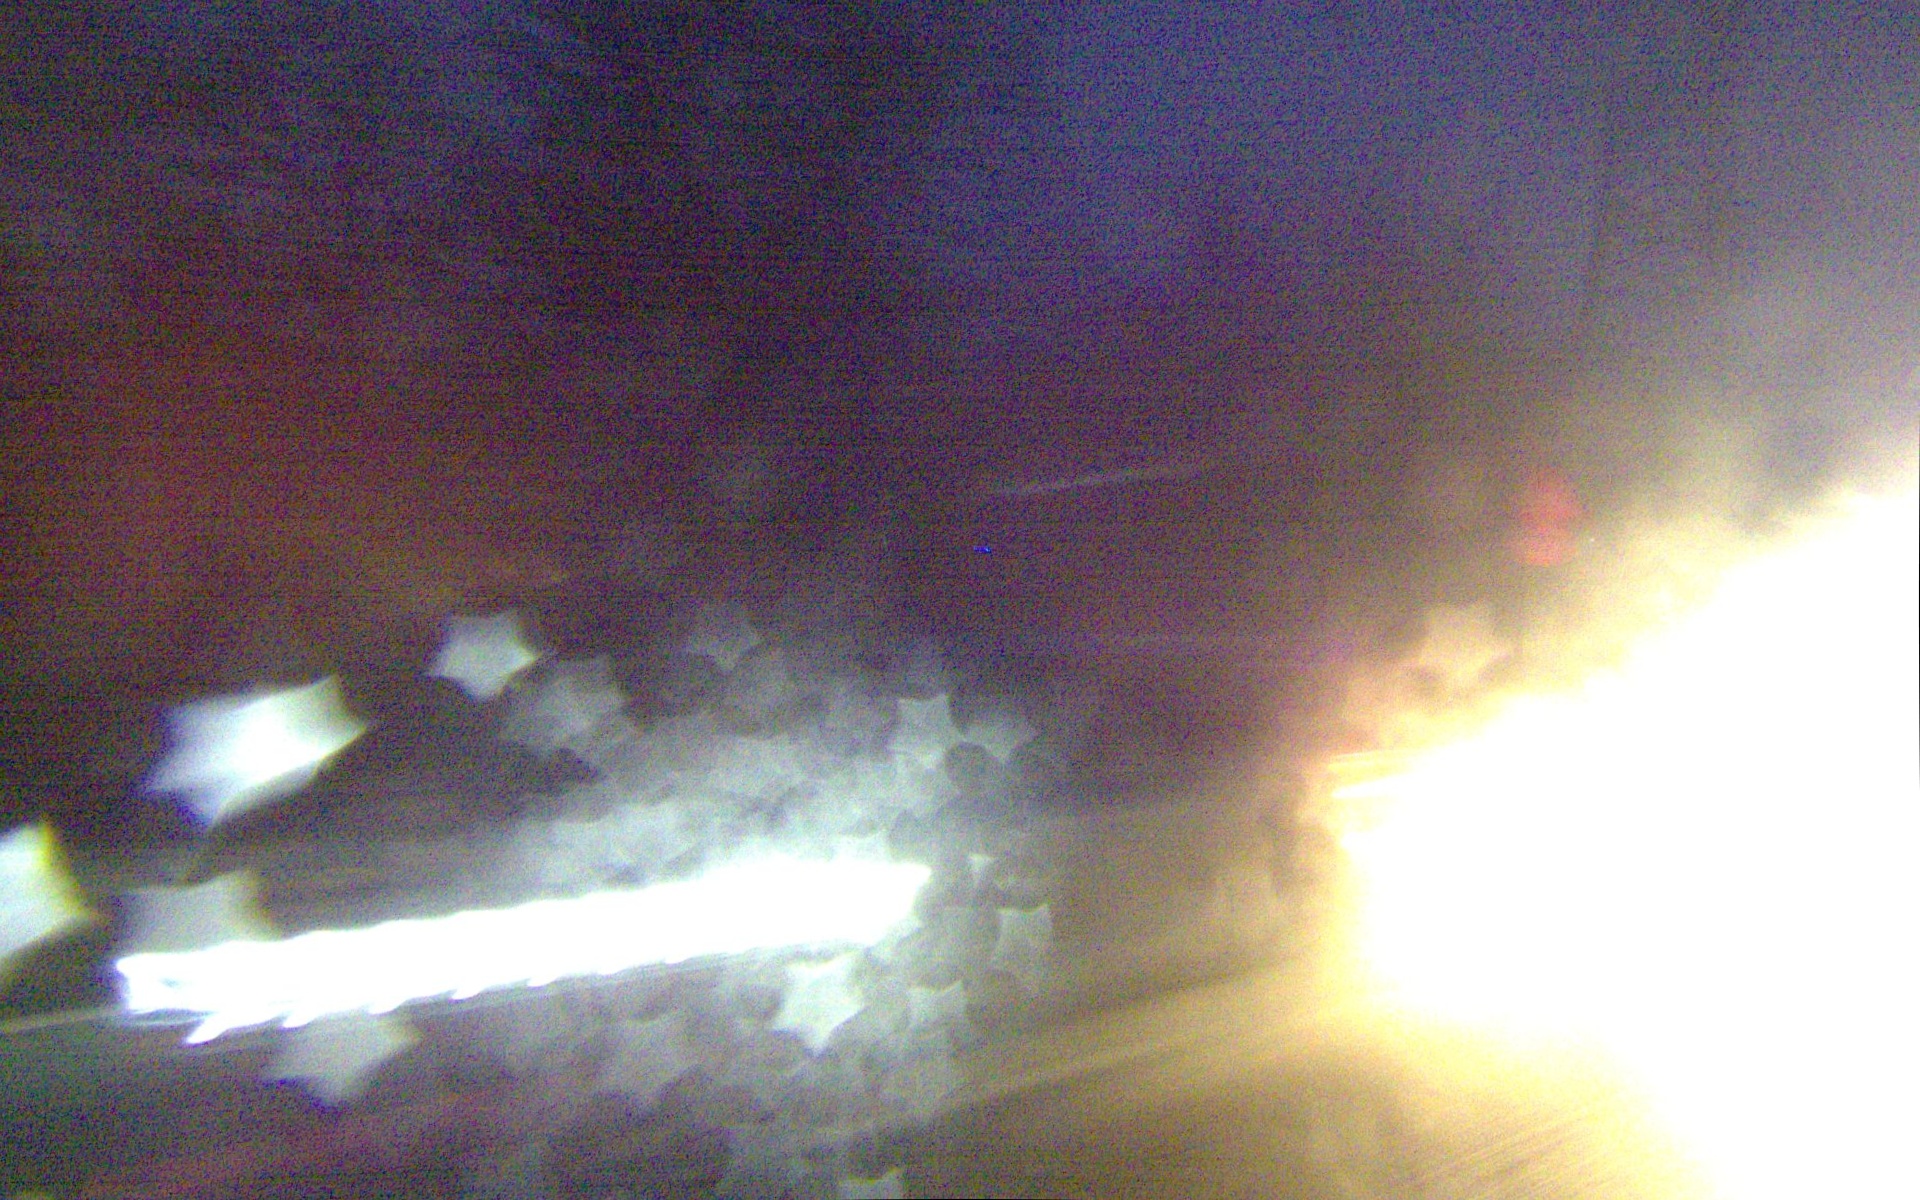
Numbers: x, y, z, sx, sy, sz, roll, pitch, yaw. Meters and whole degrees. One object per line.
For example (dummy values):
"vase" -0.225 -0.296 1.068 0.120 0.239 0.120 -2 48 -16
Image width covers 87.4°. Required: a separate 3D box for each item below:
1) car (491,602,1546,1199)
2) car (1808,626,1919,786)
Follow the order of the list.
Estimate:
"car" 0.411 0.778 4.142 4.067 1.407 1.762 2 0 -32
"car" 10.372 1.026 10.251 4.194 1.407 1.758 2 0 -37
